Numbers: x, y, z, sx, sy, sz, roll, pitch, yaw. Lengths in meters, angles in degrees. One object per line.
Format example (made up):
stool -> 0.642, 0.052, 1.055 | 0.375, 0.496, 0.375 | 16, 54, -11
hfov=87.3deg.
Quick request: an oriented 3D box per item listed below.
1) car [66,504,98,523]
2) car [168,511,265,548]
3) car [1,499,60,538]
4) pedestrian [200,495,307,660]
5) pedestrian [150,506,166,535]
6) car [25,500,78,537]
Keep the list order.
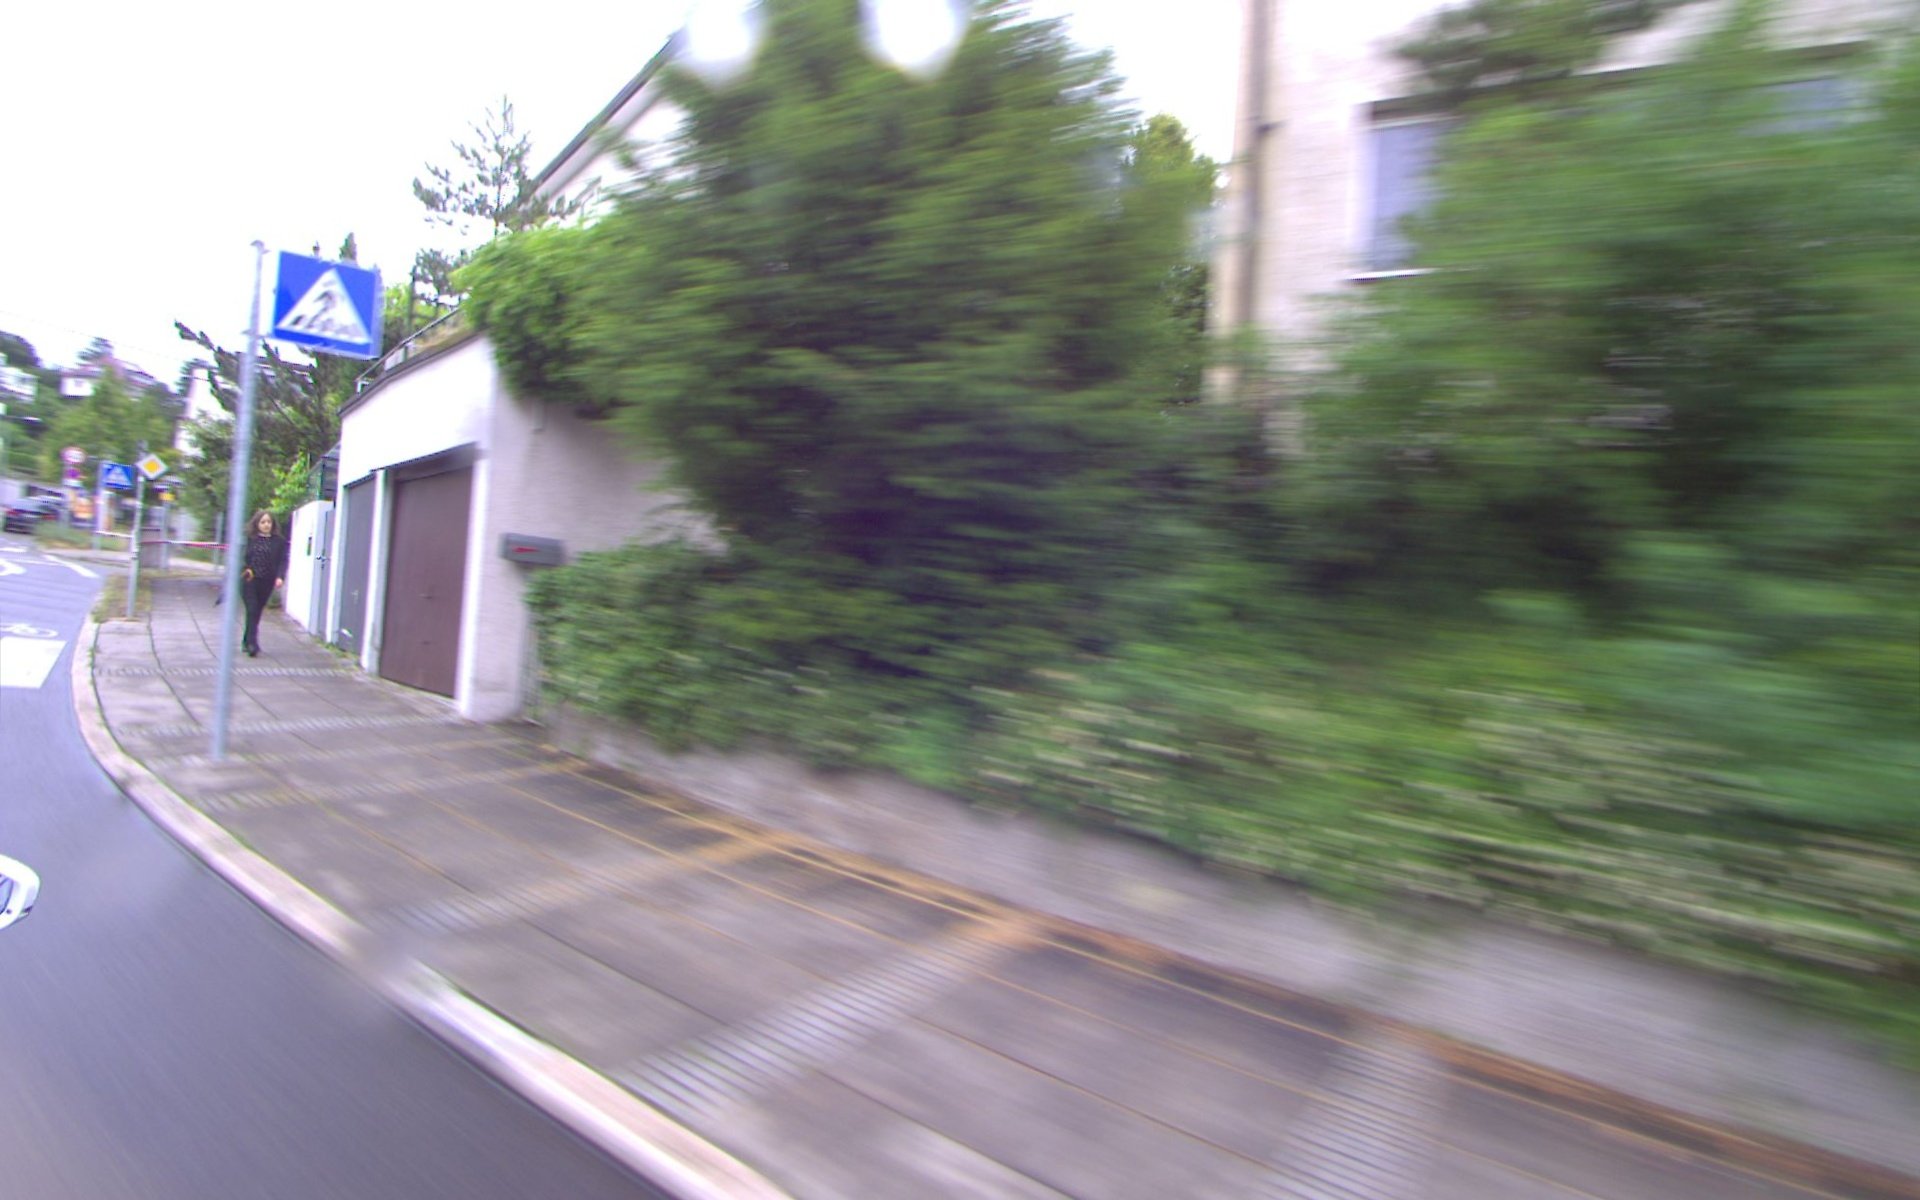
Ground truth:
car -> -69.445, -6.805, 79.618 | 1.460, 1.269, 3.547 | 7, 0, -36
car -> -41.266, -3.892, 55.930 | 3.951, 1.432, 1.715 | 7, -1, -26
car -> -40.800, -3.592, 44.171 | 1.766, 1.394, 4.295 | 7, -1, -43
pedestrian -> -8.021, -0.258, 11.407 | 0.799, 1.744, 1.048 | 4, 2, -41
pedestrian -> -52.375, -5.173, 65.668 | 0.636, 1.817, 0.735 | 6, 1, -43
car -> -43.883, -3.946, 48.570 | 1.711, 1.468, 3.785 | 7, 0, -44
